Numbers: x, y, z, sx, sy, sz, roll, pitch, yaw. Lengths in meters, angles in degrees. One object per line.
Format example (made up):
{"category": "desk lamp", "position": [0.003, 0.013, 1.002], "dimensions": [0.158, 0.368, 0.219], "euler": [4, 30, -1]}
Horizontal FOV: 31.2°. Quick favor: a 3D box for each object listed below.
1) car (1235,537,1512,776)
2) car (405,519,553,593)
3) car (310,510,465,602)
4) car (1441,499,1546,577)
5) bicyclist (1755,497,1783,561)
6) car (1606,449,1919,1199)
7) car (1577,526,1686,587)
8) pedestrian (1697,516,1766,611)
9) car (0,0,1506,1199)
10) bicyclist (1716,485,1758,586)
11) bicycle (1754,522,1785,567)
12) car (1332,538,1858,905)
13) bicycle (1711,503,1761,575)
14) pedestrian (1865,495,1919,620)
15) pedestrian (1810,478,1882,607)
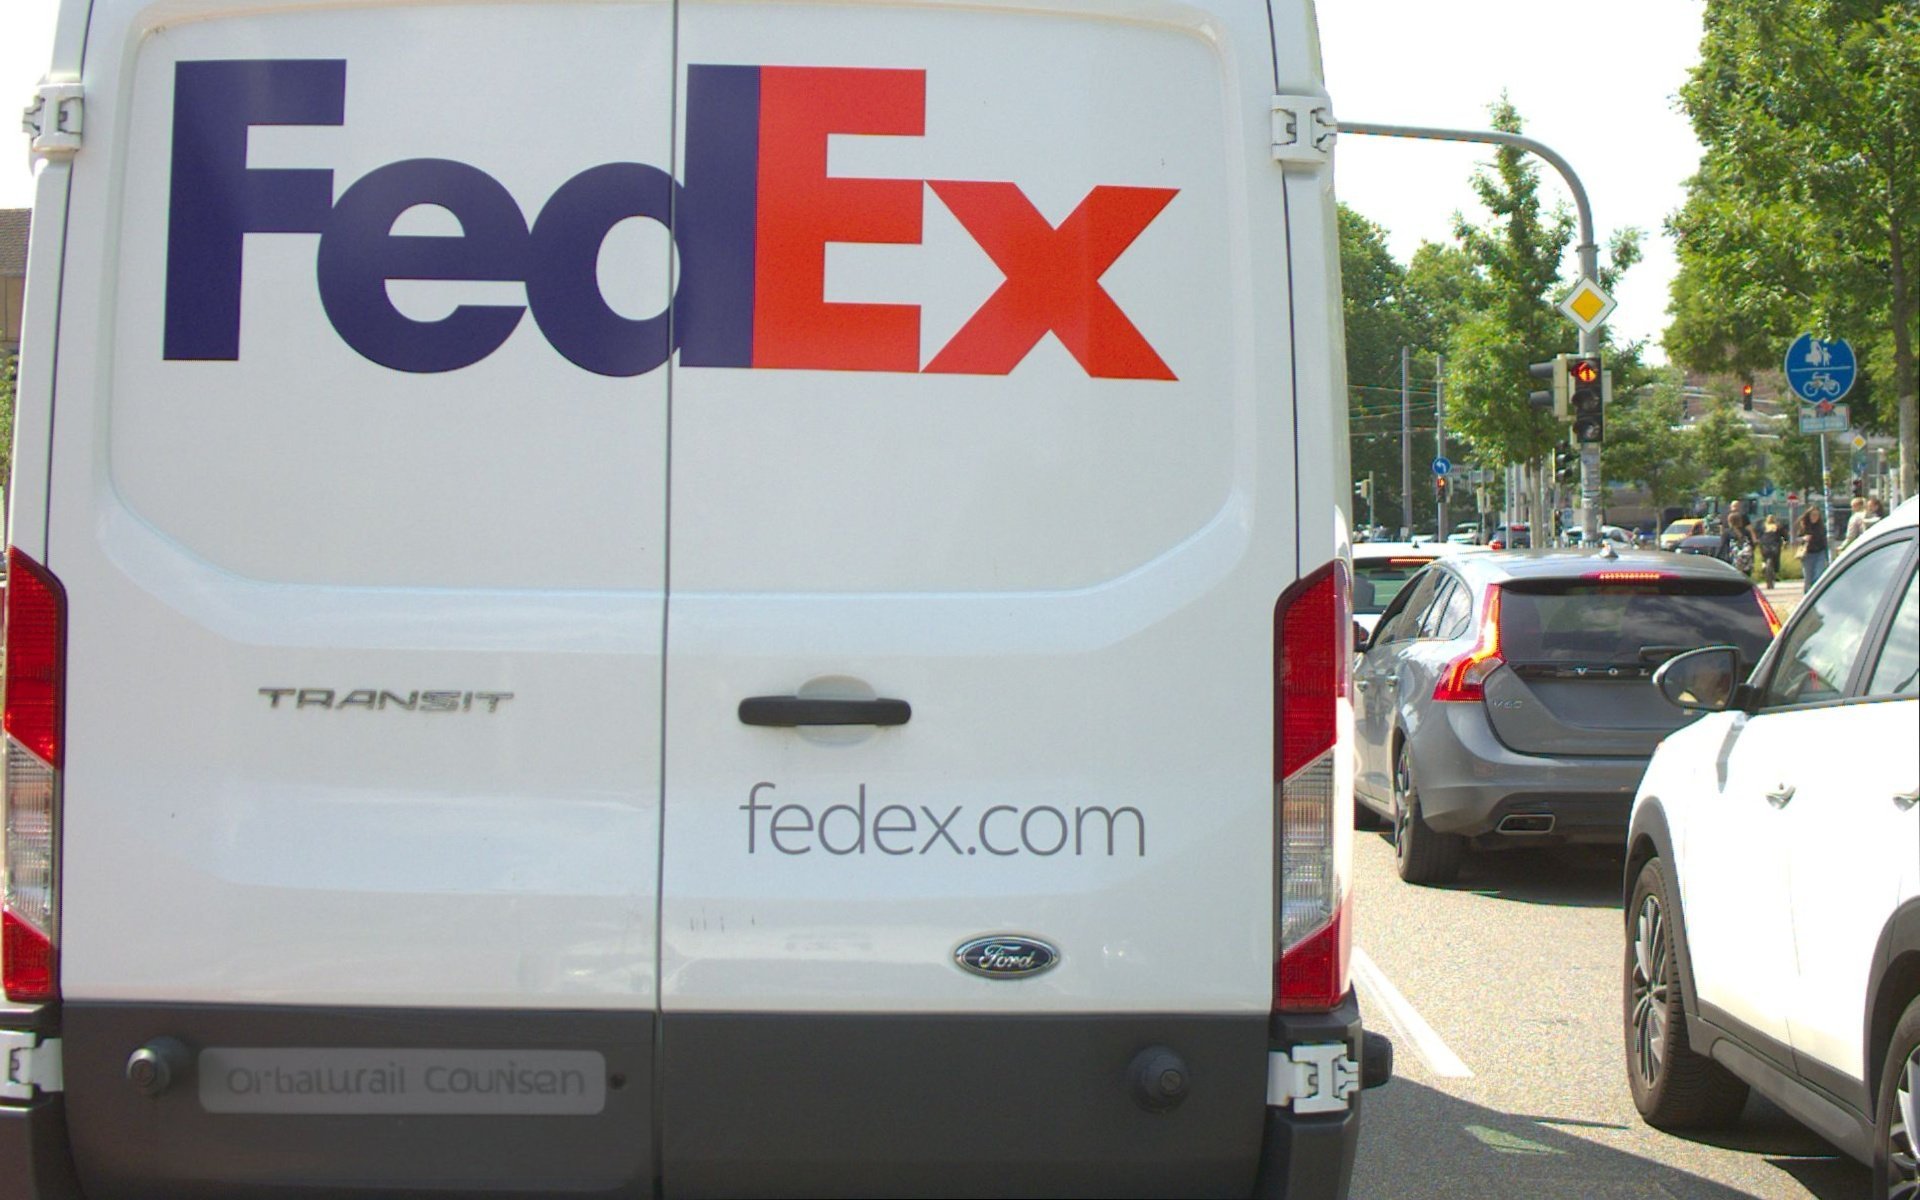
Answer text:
{"category": "car", "position": [2.650, 0.316, 22.630], "dimensions": [1.484, 1.423, 3.433], "euler": [0, 1, 1]}
{"category": "car", "position": [-10.659, -0.972, 76.464], "dimensions": [1.902, 1.579, 3.998], "euler": [0, 1, 14]}
{"category": "car", "position": [-12.840, -0.995, 77.348], "dimensions": [1.995, 2.007, 3.998], "euler": [0, 1, 14]}
{"category": "car", "position": [14.213, -1.640, 91.450], "dimensions": [2.094, 2.007, 4.640], "euler": [0, 1, 17]}
{"category": "bicyclist", "position": [18.829, -1.653, 80.016], "dimensions": [0.550, 1.469, 0.971], "euler": [0, 1, 8]}
{"category": "car", "position": [2.591, 0.541, 7.234], "dimensions": [1.798, 1.681, 4.000], "euler": [0, 1, 1]}
{"category": "car", "position": [20.268, -1.323, 103.667], "dimensions": [1.996, 1.787, 4.365], "euler": [0, 1, 28]}
{"category": "pedestrian", "position": [11.418, -0.543, 50.918], "dimensions": [0.845, 1.384, 0.741], "euler": [0, 1, -1]}
{"category": "car", "position": [-0.504, 0.082, 7.220], "dimensions": [2.140, 2.643, 5.705], "euler": [0, 1, -3]}
{"category": "bicyclist", "position": [14.182, -1.184, 62.724], "dimensions": [0.592, 1.838, 1.121], "euler": [0, 2, 21]}
{"category": "bicycle", "position": [18.820, -1.304, 79.951], "dimensions": [0.546, 1.027, 1.926], "euler": [0, 1, 8]}
{"category": "car", "position": [2.781, 0.460, 15.862], "dimensions": [1.798, 1.456, 3.838], "euler": [0, 1, 1]}
{"category": "bicycle", "position": [14.148, -1.117, 62.631], "dimensions": [0.603, 1.285, 2.069], "euler": [0, 1, 21]}
{"category": "pedestrian", "position": [15.181, -0.700, 55.647], "dimensions": [0.845, 2.007, 0.741], "euler": [0, 1, -1]}
{"category": "pedestrian", "position": [14.210, -0.930, 55.129], "dimensions": [0.844, 2.051, 0.741], "euler": [-1, 1, -24]}
